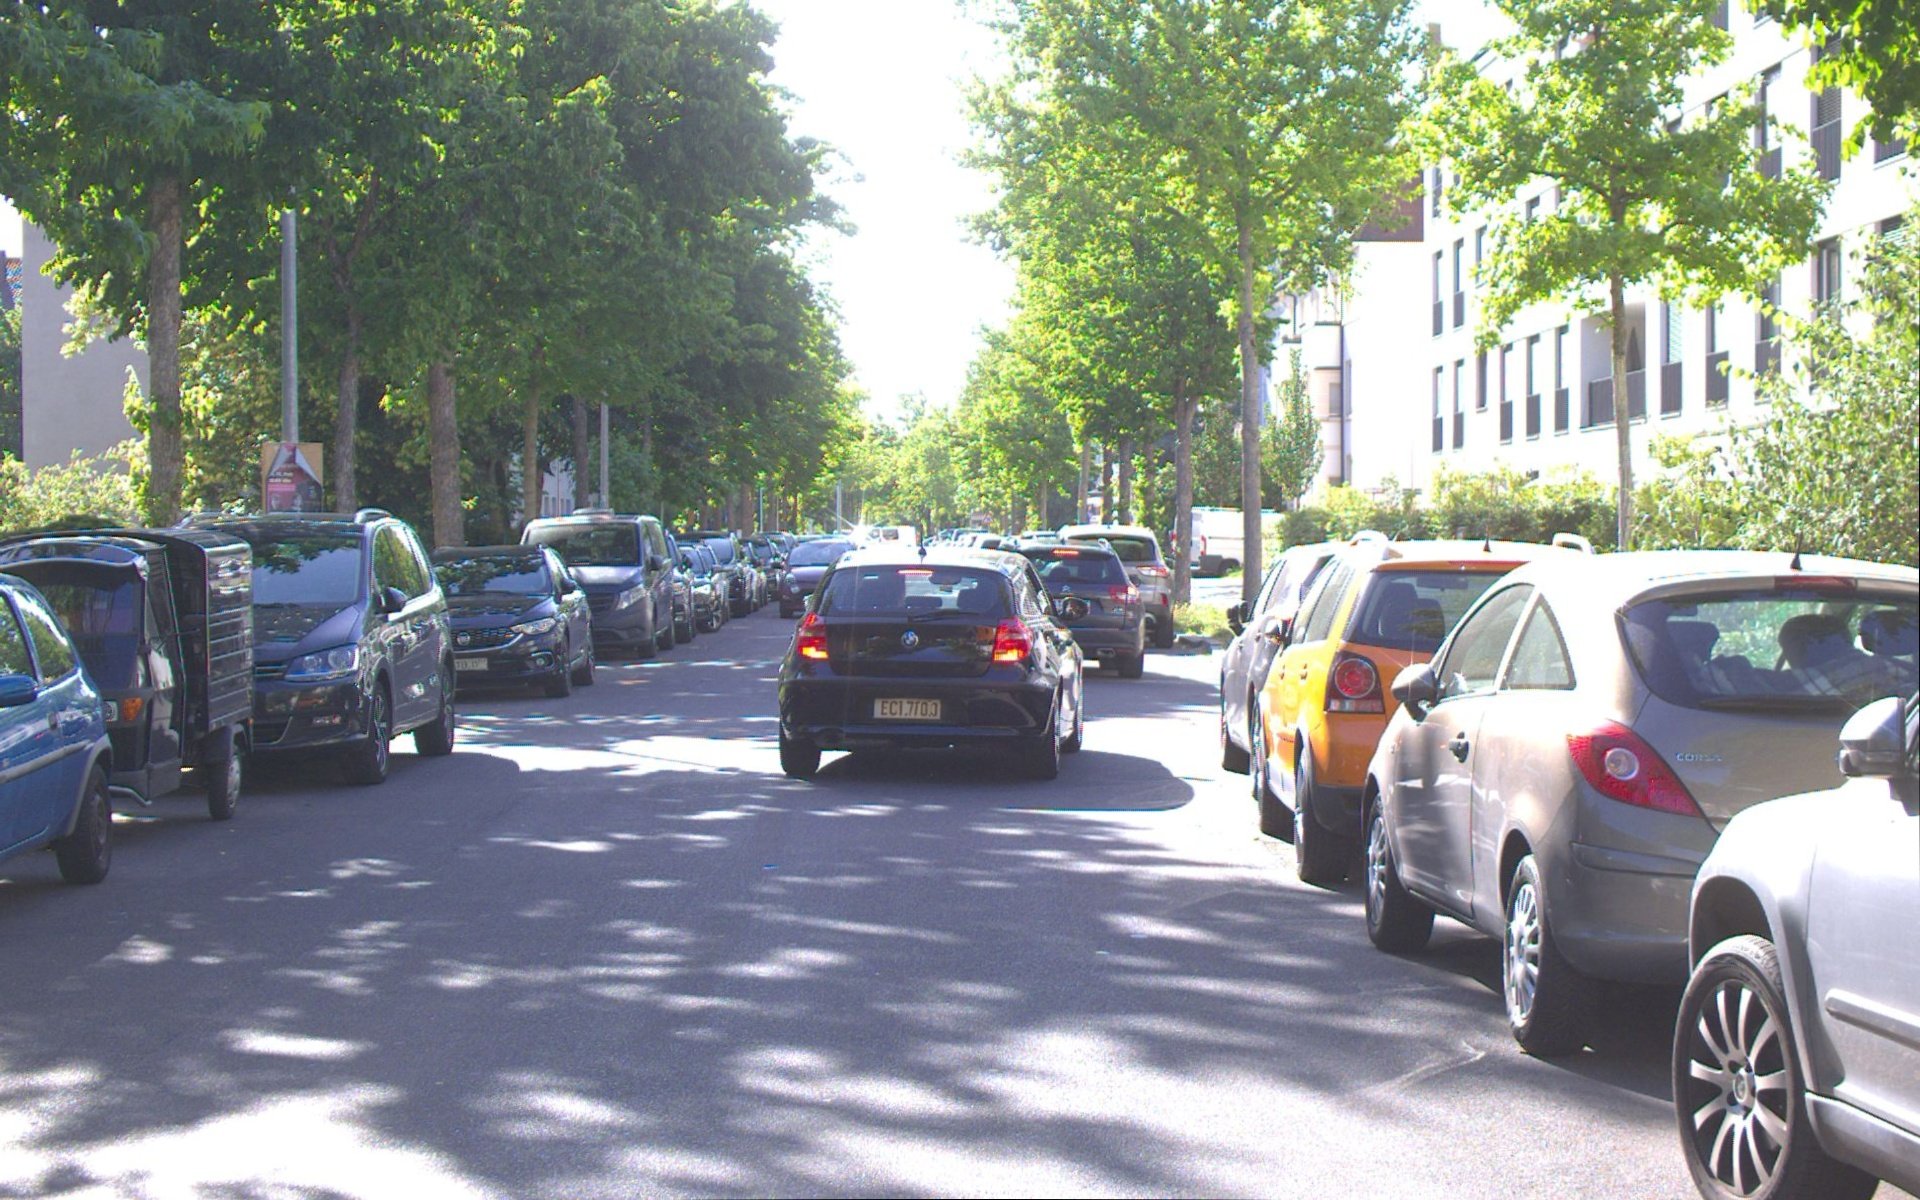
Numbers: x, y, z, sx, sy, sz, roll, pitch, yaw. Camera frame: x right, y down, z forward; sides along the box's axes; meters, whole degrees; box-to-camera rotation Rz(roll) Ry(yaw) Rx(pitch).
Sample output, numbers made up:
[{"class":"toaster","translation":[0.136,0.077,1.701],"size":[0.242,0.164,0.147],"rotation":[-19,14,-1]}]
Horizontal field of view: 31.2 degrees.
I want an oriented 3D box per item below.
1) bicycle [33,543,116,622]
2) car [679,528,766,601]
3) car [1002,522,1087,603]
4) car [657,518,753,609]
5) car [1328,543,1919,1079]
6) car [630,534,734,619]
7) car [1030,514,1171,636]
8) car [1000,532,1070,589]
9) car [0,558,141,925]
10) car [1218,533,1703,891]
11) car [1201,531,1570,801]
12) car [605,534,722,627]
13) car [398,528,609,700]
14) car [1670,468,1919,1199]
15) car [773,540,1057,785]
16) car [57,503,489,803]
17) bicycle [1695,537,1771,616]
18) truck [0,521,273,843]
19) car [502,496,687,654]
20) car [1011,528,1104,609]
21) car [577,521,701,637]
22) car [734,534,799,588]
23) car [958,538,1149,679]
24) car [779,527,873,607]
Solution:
[{"class":"bicycle","translation":[-11.545,-0.234,44.866],"size":[0.594,0.988,1.928],"rotation":[-1,1,-1]},{"class":"car","translation":[-4.969,-0.764,72.329],"size":[1.612,1.447,3.866],"rotation":[-1,1,-1]},{"class":"car","translation":[1.810,-0.830,74.408],"size":[1.721,1.635,3.851],"rotation":[2,1,0]},{"class":"car","translation":[-4.908,-0.728,66.625],"size":[1.612,1.673,4.235],"rotation":[-1,1,-1]},{"class":"car","translation":[2.312,0.549,11.269],"size":[1.649,1.423,3.613],"rotation":[-1,1,-3]},{"class":"car","translation":[-4.921,-0.434,61.188],"size":[1.612,1.422,3.726],"rotation":[-1,1,-1]},{"class":"car","translation":[1.924,-0.359,48.272],"size":[1.848,1.625,4.410],"rotation":[1,1,1]},{"class":"car","translation":[1.932,-1.042,89.527],"size":[1.721,1.374,3.851],"rotation":[2,1,0]},{"class":"car","translation":[-4.500,0.550,14.041],"size":[1.520,1.390,3.727],"rotation":[-1,1,-2]},{"class":"car","translation":[2.234,0.427,16.330],"size":[1.636,1.450,4.100],"rotation":[-1,1,-1]},{"class":"car","translation":[2.478,0.321,20.896],"size":[1.700,1.444,4.082],"rotation":[-1,1,0]},{"class":"car","translation":[-4.800,-0.349,56.095],"size":[1.612,1.422,4.058],"rotation":[-1,1,-1]},{"class":"car","translation":[-4.527,0.087,34.651],"size":[1.507,1.543,4.779],"rotation":[-3,1,-1]},{"class":"car","translation":[2.607,0.585,6.150],"size":[1.648,1.650,3.848],"rotation":[0,1,-4]},{"class":"car","translation":[-0.297,0.340,21.929],"size":[1.649,1.392,3.412],"rotation":[-1,1,-1]},{"class":"car","translation":[-4.375,0.252,22.695],"size":[1.849,1.675,4.977],"rotation":[-3,1,-1]},{"class":"bicycle","translation":[10.534,-0.330,46.900],"size":[0.546,1.051,1.692],"rotation":[-1,1,-3]},{"class":"truck","translation":[-4.438,0.376,18.065],"size":[1.084,1.572,2.432],"rotation":[-1,1,2]},{"class":"car","translation":[-4.720,-0.366,45.075],"size":[1.826,1.898,5.142],"rotation":[-2,1,0]},{"class":"car","translation":[1.910,-0.650,68.402],"size":[1.721,1.523,4.000],"rotation":[2,1,0]},{"class":"car","translation":[-4.707,-0.335,50.785],"size":[1.612,1.606,4.230],"rotation":[-1,1,-3]},{"class":"car","translation":[-5.232,-1.062,93.309],"size":[1.612,1.387,3.866],"rotation":[-1,1,-1]},{"class":"car","translation":[0.975,0.051,37.899],"size":[1.649,1.420,4.002],"rotation":[-1,1,-5]},{"class":"car","translation":[-2.502,-0.639,64.550],"size":[1.505,1.421,3.178],"rotation":[-1,1,2]}]
